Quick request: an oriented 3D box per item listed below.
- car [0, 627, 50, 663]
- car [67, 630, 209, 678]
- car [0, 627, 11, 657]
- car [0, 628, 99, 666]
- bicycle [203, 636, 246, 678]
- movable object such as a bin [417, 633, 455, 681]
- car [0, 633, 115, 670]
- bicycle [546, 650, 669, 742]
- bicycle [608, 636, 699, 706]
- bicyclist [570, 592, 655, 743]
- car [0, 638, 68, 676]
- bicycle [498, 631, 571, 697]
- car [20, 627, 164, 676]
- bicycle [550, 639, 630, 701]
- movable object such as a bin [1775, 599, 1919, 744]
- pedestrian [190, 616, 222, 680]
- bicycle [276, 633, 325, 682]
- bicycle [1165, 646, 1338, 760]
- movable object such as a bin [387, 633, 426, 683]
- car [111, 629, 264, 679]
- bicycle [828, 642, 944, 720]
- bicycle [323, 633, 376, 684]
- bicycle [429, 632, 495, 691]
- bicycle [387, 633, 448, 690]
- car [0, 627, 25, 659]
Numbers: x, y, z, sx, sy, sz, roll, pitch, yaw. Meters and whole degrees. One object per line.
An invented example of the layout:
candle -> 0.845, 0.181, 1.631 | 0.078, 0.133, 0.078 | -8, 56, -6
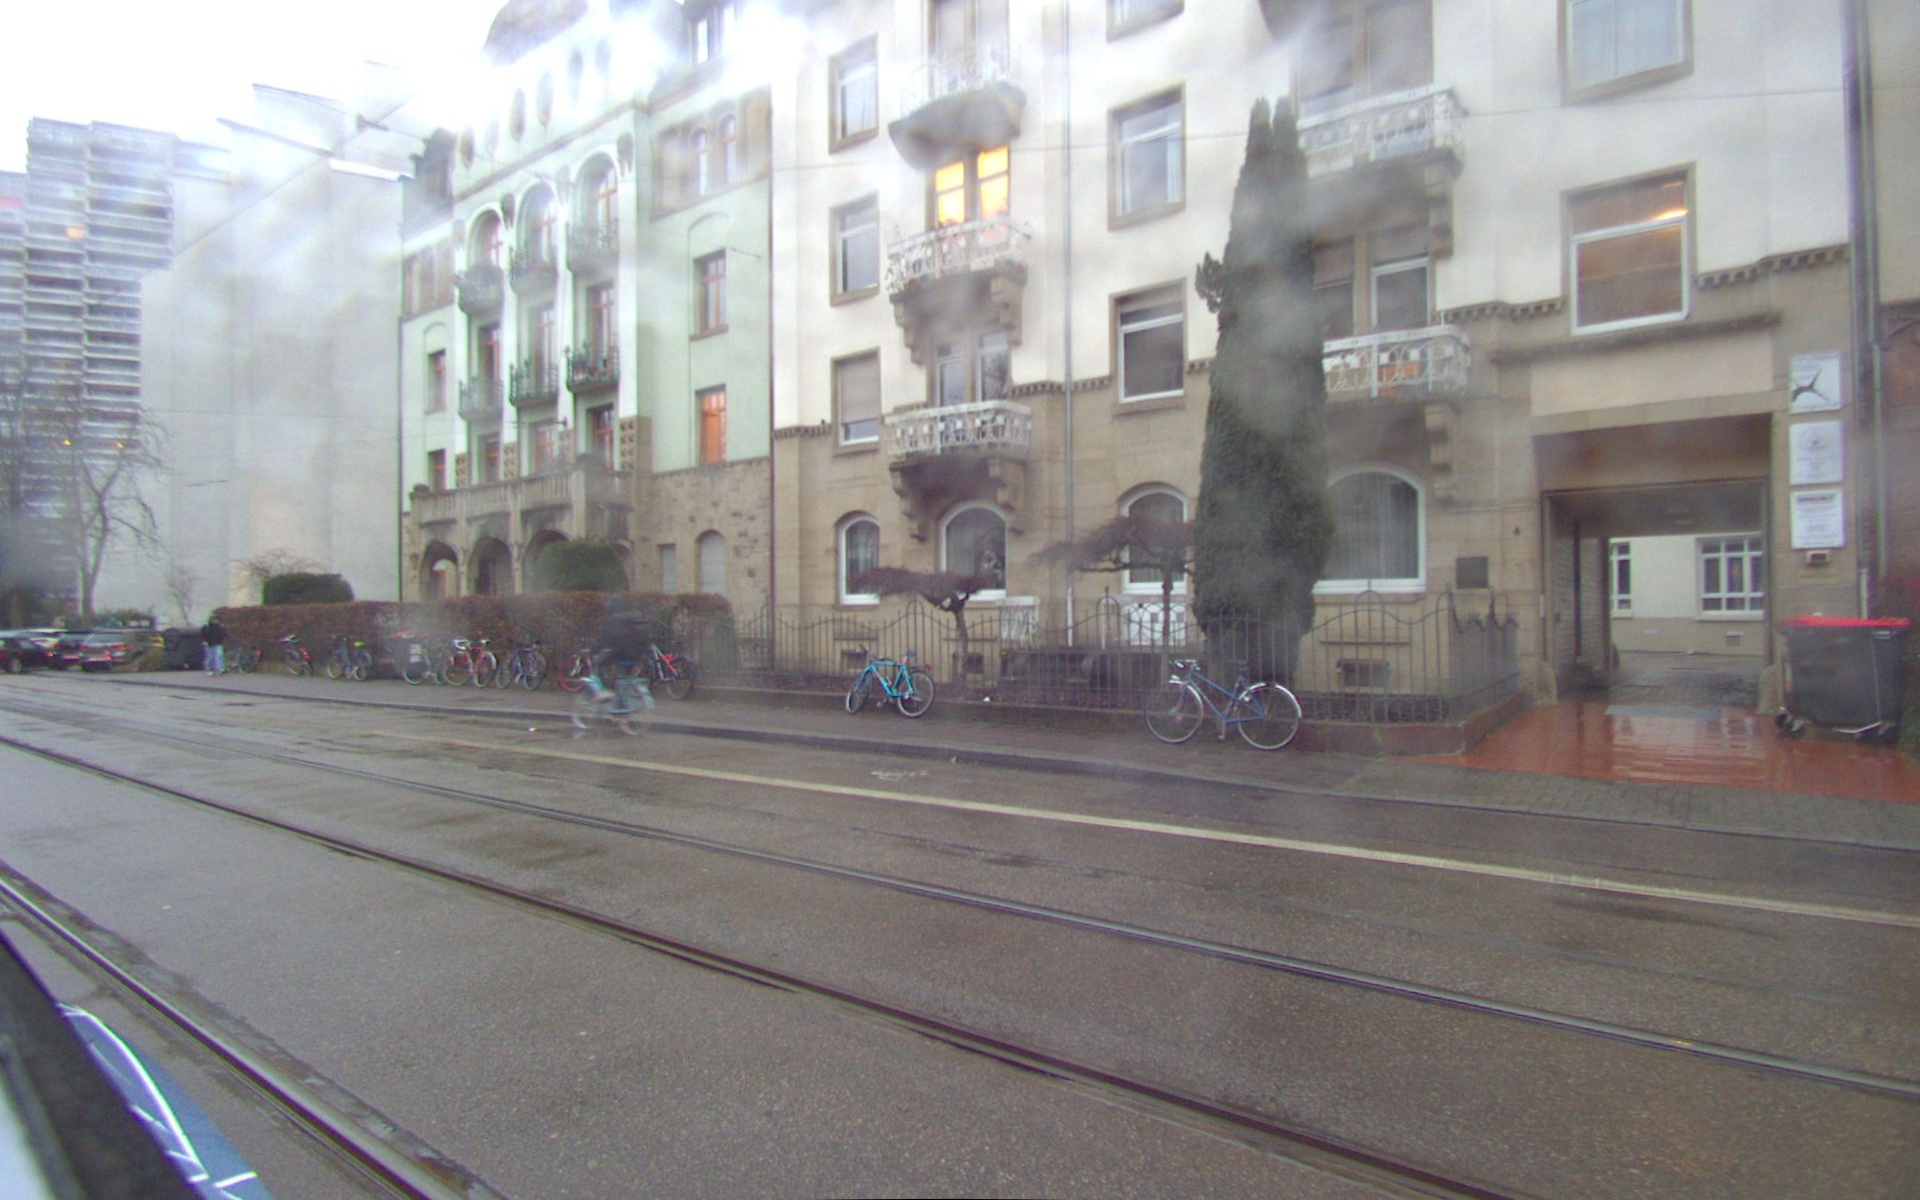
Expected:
car -> -44.779, 2.090, 46.809 | 1.843, 1.608, 3.999 | -1, -1, 0
car -> -28.496, 1.836, 35.250 | 1.740, 1.497, 3.999 | -1, -1, 0
car -> -52.337, 2.257, 52.849 | 1.843, 1.608, 3.999 | -1, -1, 0
car -> -42.065, 2.130, 46.367 | 1.843, 1.608, 3.999 | -1, -1, 0
bicycle -> -21.410, 1.639, 29.442 | 1.661, 1.173, 0.617 | -2, -1, 40
movable object such as a bin -> -12.984, 1.400, 25.071 | 0.674, 1.173, 0.617 | -2, -2, 40
car -> -39.134, 2.187, 43.774 | 1.843, 1.460, 3.999 | -1, -1, 0
bicycle -> -4.671, 1.229, 13.346 | 1.946, 1.101, 0.617 | -2, -2, 40
bicycle -> -5.287, 1.199, 17.390 | 1.781, 1.134, 0.617 | -2, -2, 40
bicyclist -> -4.550, 0.862, 13.239 | 0.990, 1.891, 0.617 | -2, -2, 40
car -> -33.209, 1.956, 35.054 | 1.685, 1.262, 3.672 | 0, -2, -7
bicycle -> -8.273, 1.223, 19.641 | 1.661, 1.221, 0.617 | -2, -2, 40
car -> -31.302, 1.833, 36.666 | 1.843, 1.608, 3.999 | -1, -1, 0
bicycle -> -6.816, 1.261, 18.609 | 1.725, 1.073, 0.617 | -2, -2, 40
movable object such as a bin -> 9.437, 0.723, 10.756 | 1.166, 1.390, 1.092 | -2, 1, 39
pedestrian -> -21.198, 1.336, 28.444 | 0.644, 1.738, 0.567 | 0, 1, 41
bicycle -> -17.195, 1.481, 26.366 | 1.661, 1.221, 0.617 | -2, -2, 40
bicycle -> 3.093, 1.059, 10.833 | 1.661, 1.101, 0.617 | -2, -2, 40
movable object such as a bin -> -13.428, 1.400, 24.554 | 0.674, 1.173, 0.651 | -2, -2, 40
car -> -26.071, 1.789, 34.316 | 1.847, 1.505, 3.989 | -1, -1, 8
bicycle -> -1.060, 1.103, 14.195 | 1.661, 1.010, 0.617 | -2, -2, 40
bicycle -> -15.050, 1.419, 24.925 | 1.661, 1.221, 0.617 | -2, -2, 40
bicycle -> -10.452, 1.264, 21.219 | 1.661, 1.173, 0.617 | -2, -2, 40
bicycle -> -12.109, 1.348, 22.584 | 1.661, 1.221, 0.617 | -2, -2, 40
car -> -49.883, 2.214, 51.021 | 1.843, 1.608, 3.999 | -1, -1, 0
